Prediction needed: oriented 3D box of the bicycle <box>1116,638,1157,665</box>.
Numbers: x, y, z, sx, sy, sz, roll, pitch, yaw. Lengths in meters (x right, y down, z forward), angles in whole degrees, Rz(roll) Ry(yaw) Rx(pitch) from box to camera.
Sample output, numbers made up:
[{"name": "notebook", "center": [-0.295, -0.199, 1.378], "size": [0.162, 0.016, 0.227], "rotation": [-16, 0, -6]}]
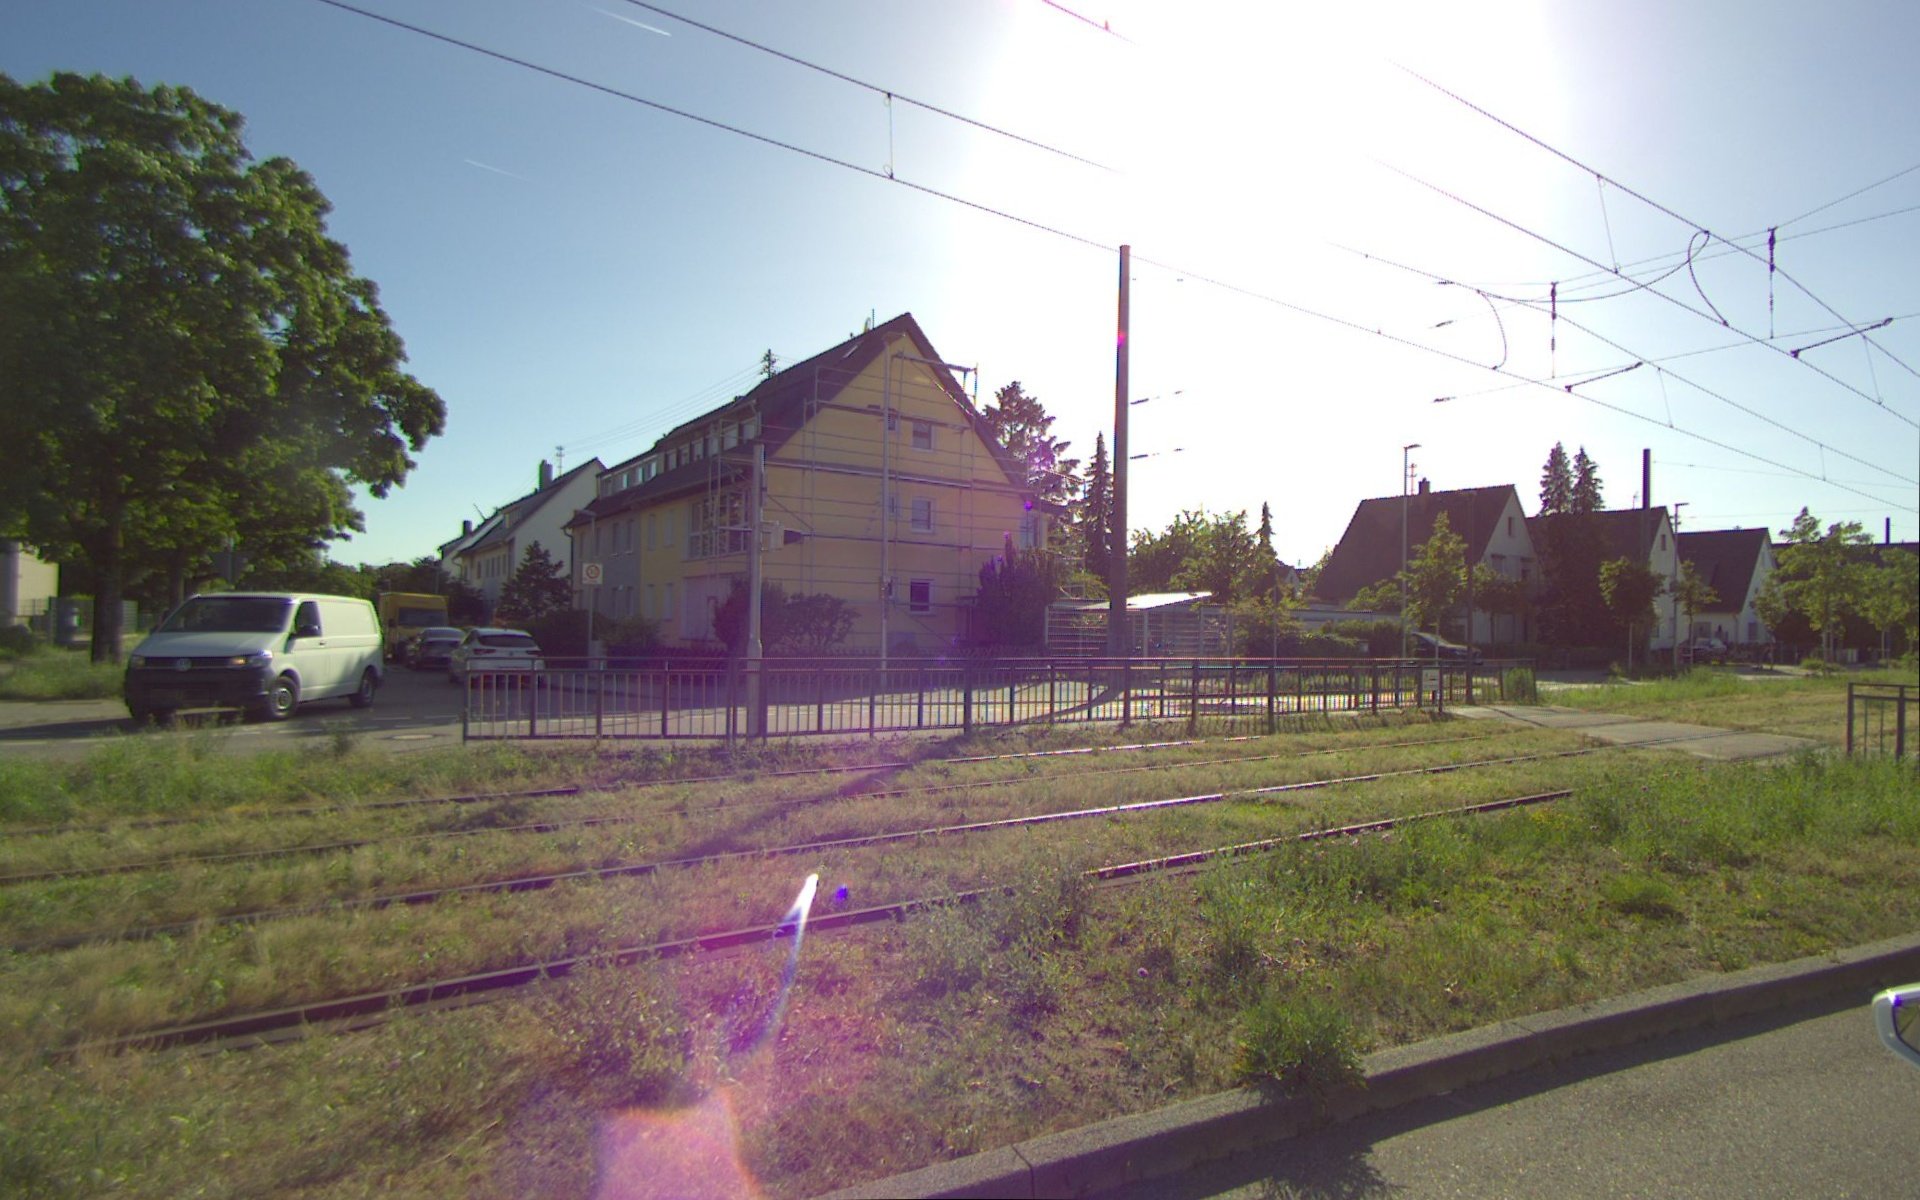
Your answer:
[{"name": "bicycle", "center": [5.691, 1.651, 32.332], "size": [1.494, 0.832, 0.309], "rotation": [3, 0, -35]}]

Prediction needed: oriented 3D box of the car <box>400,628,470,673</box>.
[{"name": "car", "center": [-17.636, 1.662, 33.679], "size": [1.545, 1.364, 3.705], "rotation": [2, -2, -35]}]

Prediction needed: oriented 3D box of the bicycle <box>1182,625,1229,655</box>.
[{"name": "bicycle", "center": [8.108, 1.323, 33.139], "size": [1.731, 0.954, 0.420], "rotation": [3, 0, -35]}]

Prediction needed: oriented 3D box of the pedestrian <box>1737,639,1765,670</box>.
[{"name": "pedestrian", "center": [43.935, 3.038, 55.756], "size": [1.075, 1.662, 0.958], "rotation": [2, -1, -35]}]

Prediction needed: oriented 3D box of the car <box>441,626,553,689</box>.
[{"name": "car", "center": [-11.940, 1.440, 25.774], "size": [1.835, 1.422, 3.960], "rotation": [5, -4, -35]}]

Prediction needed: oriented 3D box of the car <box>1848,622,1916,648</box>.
[{"name": "car", "center": [76.585, 2.903, 83.487], "size": [1.919, 1.996, 3.950], "rotation": [3, 0, -42]}]

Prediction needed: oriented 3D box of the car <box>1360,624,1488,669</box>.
[{"name": "car", "center": [19.511, 1.910, 42.362], "size": [4.493, 1.757, 2.041], "rotation": [-1, -2, 44]}]

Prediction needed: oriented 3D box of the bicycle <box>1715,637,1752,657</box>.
[{"name": "bicycle", "center": [54.770, 3.309, 71.161], "size": [0.699, 1.383, 1.971], "rotation": [2, -2, -41]}]

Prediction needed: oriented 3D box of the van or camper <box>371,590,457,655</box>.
[{"name": "van or camper", "center": [-22.343, 0.824, 40.941], "size": [2.092, 2.380, 7.181], "rotation": [2, 0, -36]}]

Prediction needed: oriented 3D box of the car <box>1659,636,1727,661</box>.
[{"name": "car", "center": [45.958, 3.024, 62.948], "size": [5.112, 1.469, 1.922], "rotation": [2, -2, -35]}]

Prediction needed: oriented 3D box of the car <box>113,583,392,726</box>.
[{"name": "car", "center": [-10.970, 0.811, 16.071], "size": [1.870, 1.940, 4.692], "rotation": [1, -1, -12]}]

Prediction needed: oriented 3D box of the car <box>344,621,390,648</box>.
[{"name": "car", "center": [-35.371, 2.037, 59.858], "size": [1.862, 1.570, 3.957], "rotation": [2, -2, -37]}]
